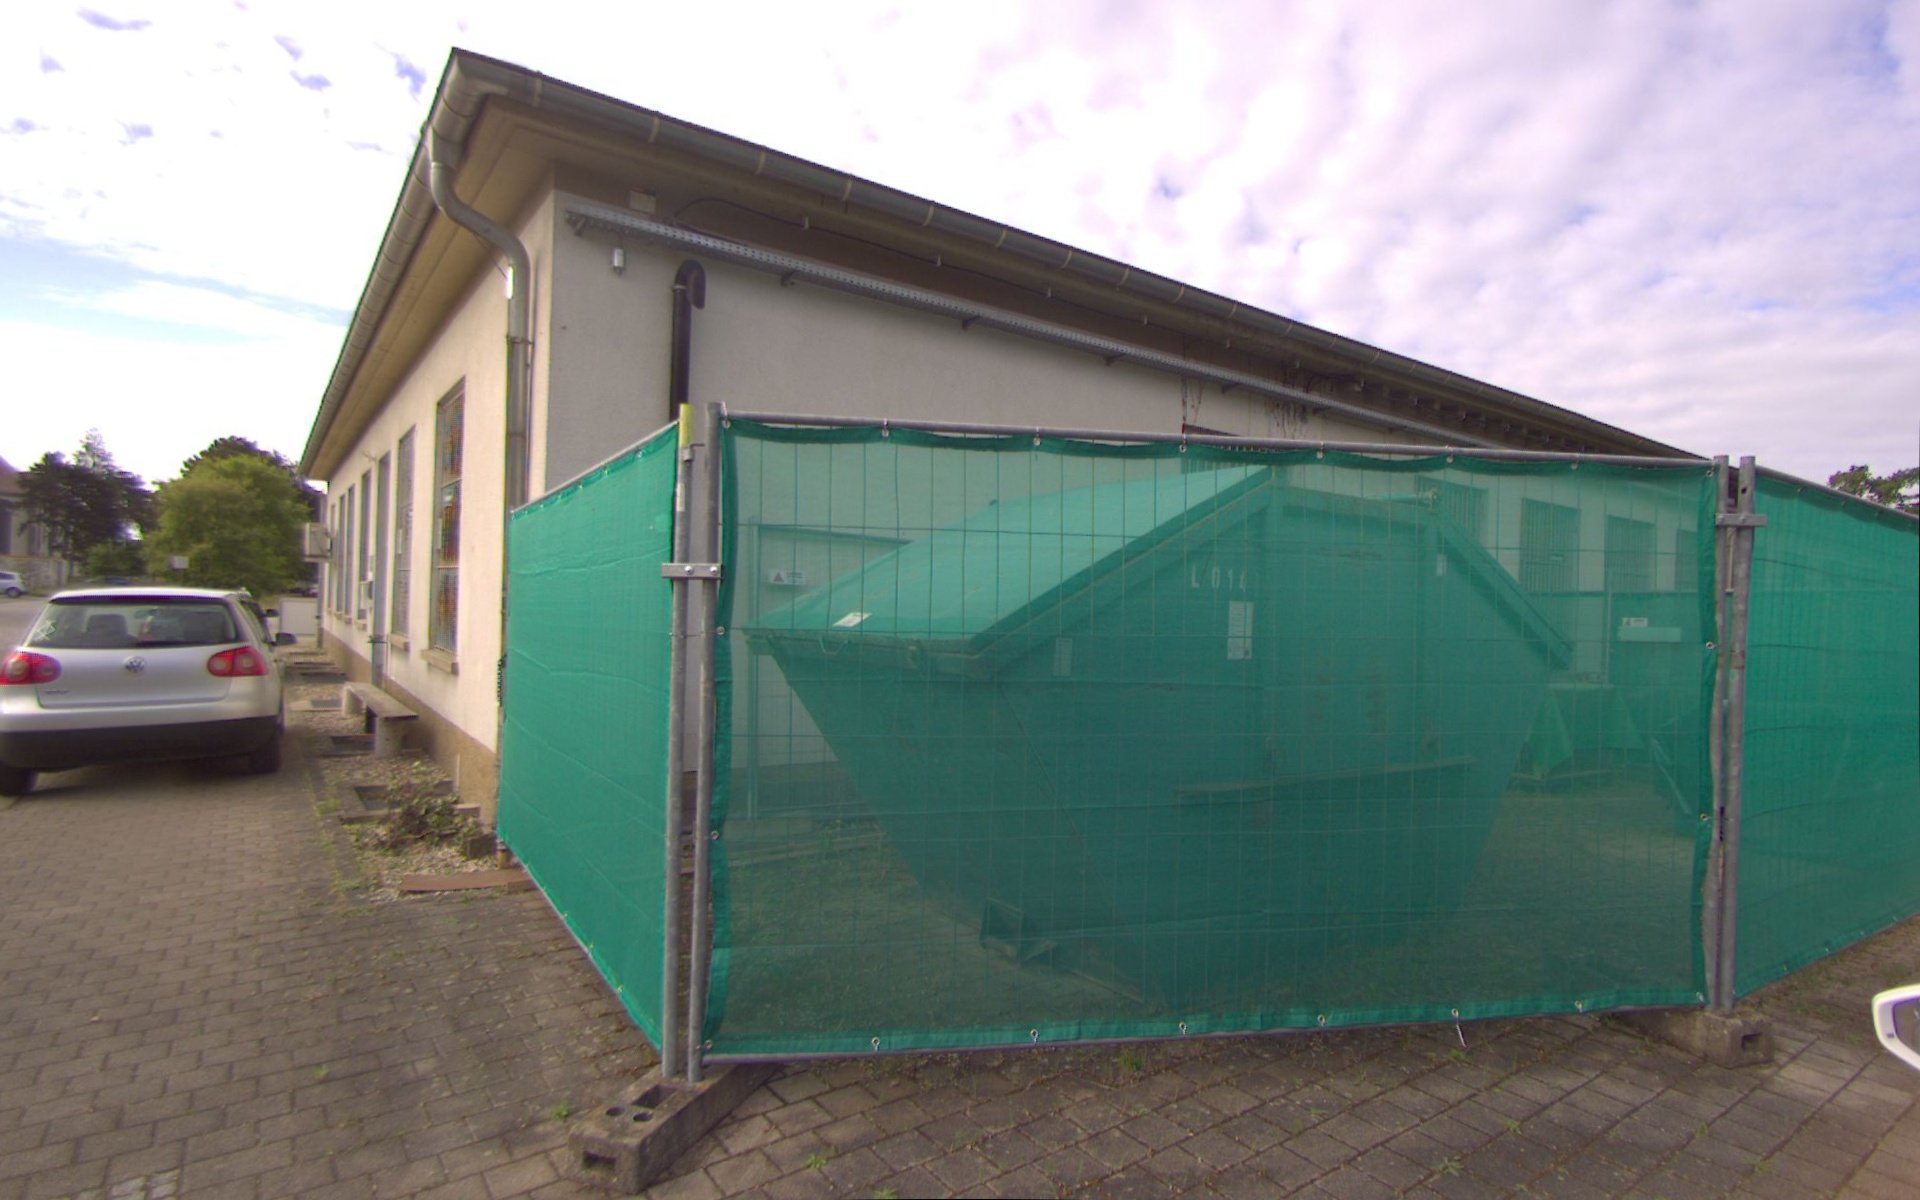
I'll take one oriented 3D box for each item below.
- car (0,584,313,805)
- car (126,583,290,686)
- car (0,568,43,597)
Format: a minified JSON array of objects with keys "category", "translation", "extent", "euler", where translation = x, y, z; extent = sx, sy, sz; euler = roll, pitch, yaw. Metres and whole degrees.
[{"category":"car","translation":[-7.007,0.612,8.881],"extent":[1.912,1.458,4.323],"euler":[1,0,-36]},{"category":"car","translation":[-12.543,0.497,16.876],"extent":[1.913,1.480,4.761],"euler":[3,-1,-36]},{"category":"car","translation":[-60.112,-1.166,62.636],"extent":[4.099,1.646,1.918],"euler":[5,-1,-38]}]
